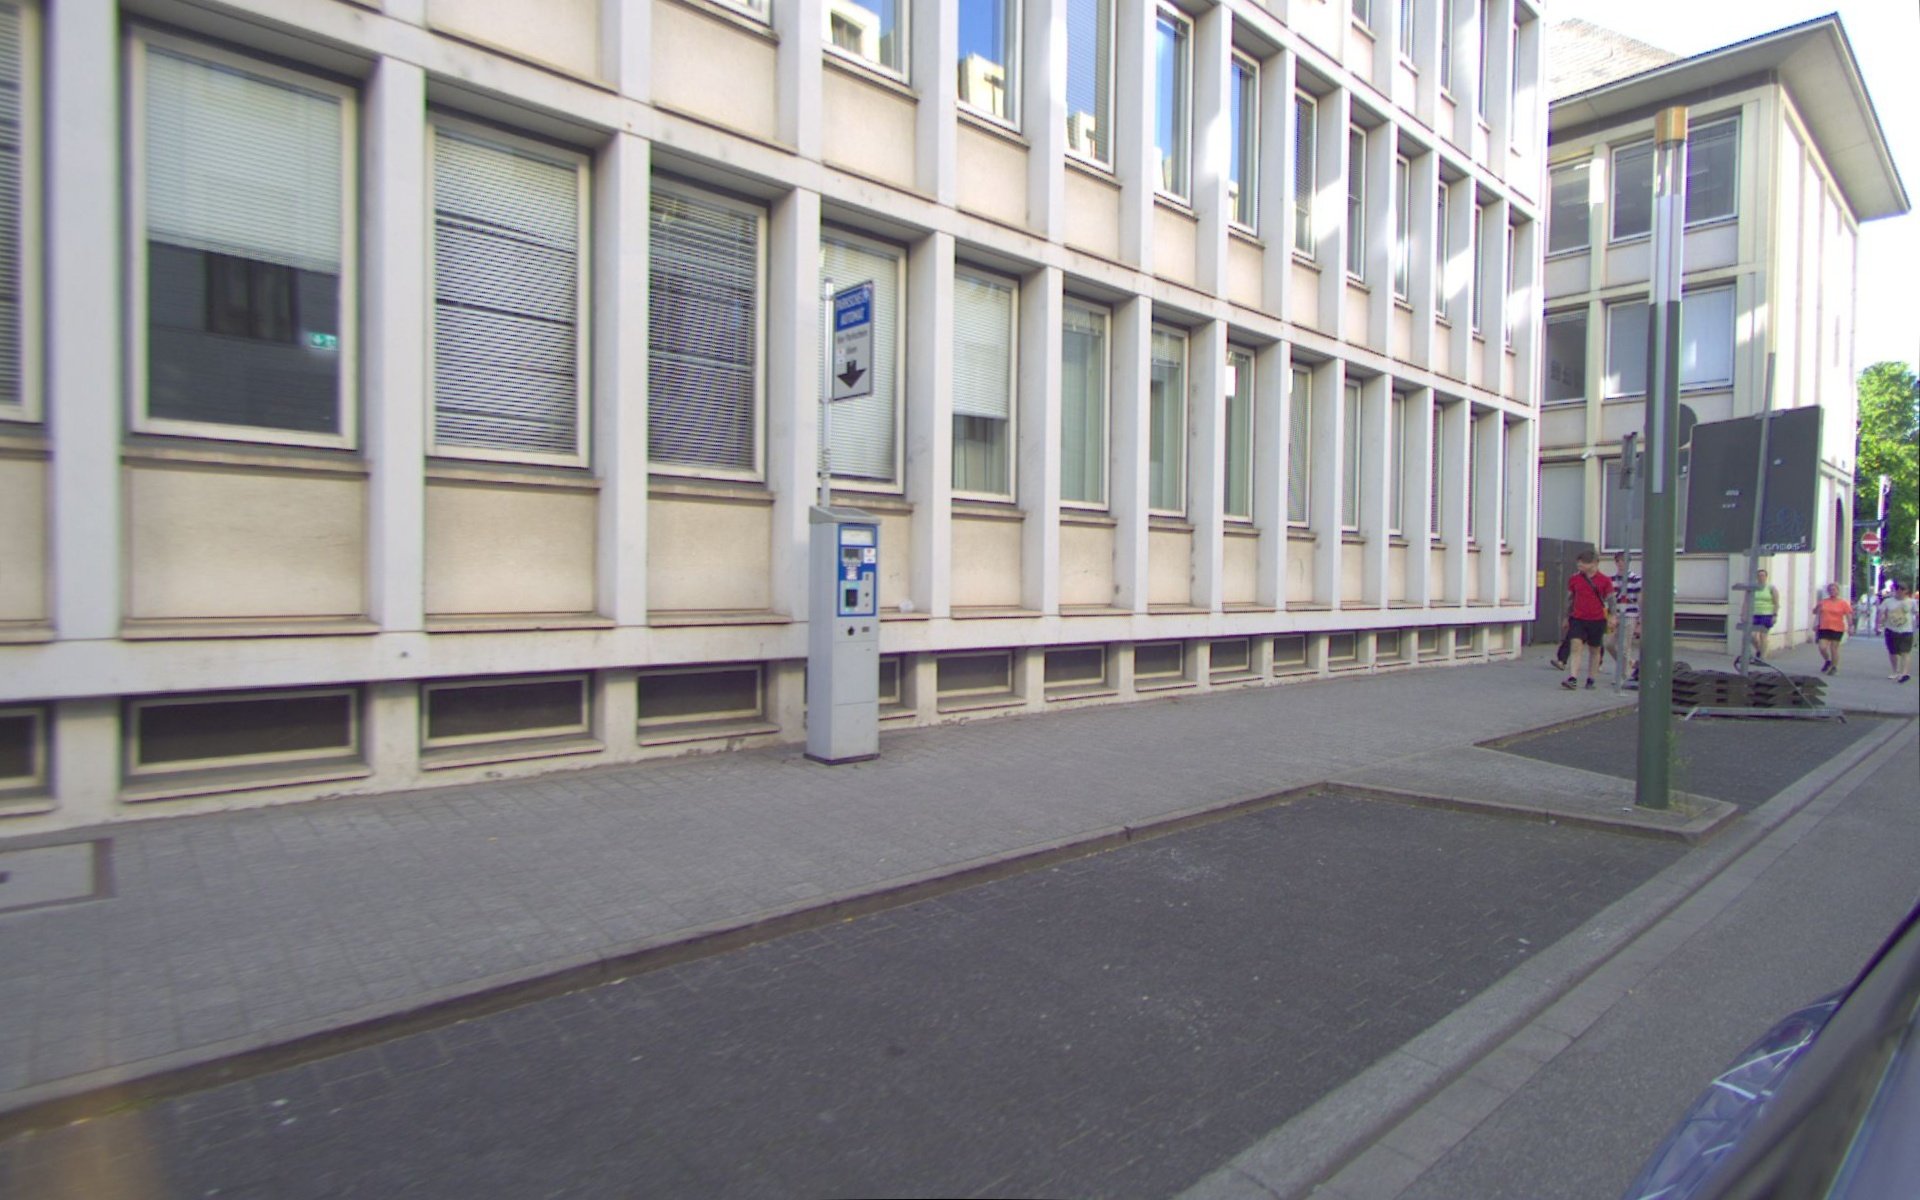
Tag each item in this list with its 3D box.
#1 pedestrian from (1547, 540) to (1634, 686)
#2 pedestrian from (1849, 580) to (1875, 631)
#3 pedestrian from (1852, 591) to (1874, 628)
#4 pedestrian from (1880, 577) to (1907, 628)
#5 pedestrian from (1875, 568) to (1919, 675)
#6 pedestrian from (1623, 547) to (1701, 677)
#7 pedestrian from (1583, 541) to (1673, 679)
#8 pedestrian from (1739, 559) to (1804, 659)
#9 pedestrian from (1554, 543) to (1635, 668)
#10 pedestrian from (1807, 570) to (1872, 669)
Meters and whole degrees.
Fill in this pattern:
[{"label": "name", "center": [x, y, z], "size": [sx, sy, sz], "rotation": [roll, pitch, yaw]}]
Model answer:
[{"label": "pedestrian", "center": [8.144, 0.149, 13.084], "size": [0.583, 1.799, 0.685], "rotation": [0, 5, -40]}, {"label": "pedestrian", "center": [29.505, 0.169, 33.106], "size": [0.624, 1.662, 0.613], "rotation": [0, 1, 43]}, {"label": "pedestrian", "center": [29.967, 0.320, 33.585], "size": [0.534, 1.191, 0.613], "rotation": [0, 1, 43]}, {"label": "pedestrian", "center": [30.353, 0.075, 32.913], "size": [0.624, 1.634, 0.613], "rotation": [0, 1, 43]}, {"label": "pedestrian", "center": [16.185, 0.358, 17.229], "size": [0.681, 1.736, 0.685], "rotation": [0, 5, -40]}, {"label": "pedestrian", "center": [10.169, 0.153, 14.672], "size": [0.681, 1.800, 0.685], "rotation": [0, 3, -40]}, {"label": "pedestrian", "center": [9.214, 0.121, 13.965], "size": [0.681, 1.799, 0.685], "rotation": [0, 7, -40]}, {"label": "pedestrian", "center": [14.769, 0.147, 18.421], "size": [0.681, 1.736, 0.685], "rotation": [0, 5, -40]}, {"label": "pedestrian", "center": [9.640, 0.067, 15.381], "size": [0.681, 1.799, 0.685], "rotation": [0, 7, -40]}, {"label": "pedestrian", "center": [15.327, 0.324, 17.632], "size": [0.681, 1.656, 0.685], "rotation": [0, 3, -40]}]
